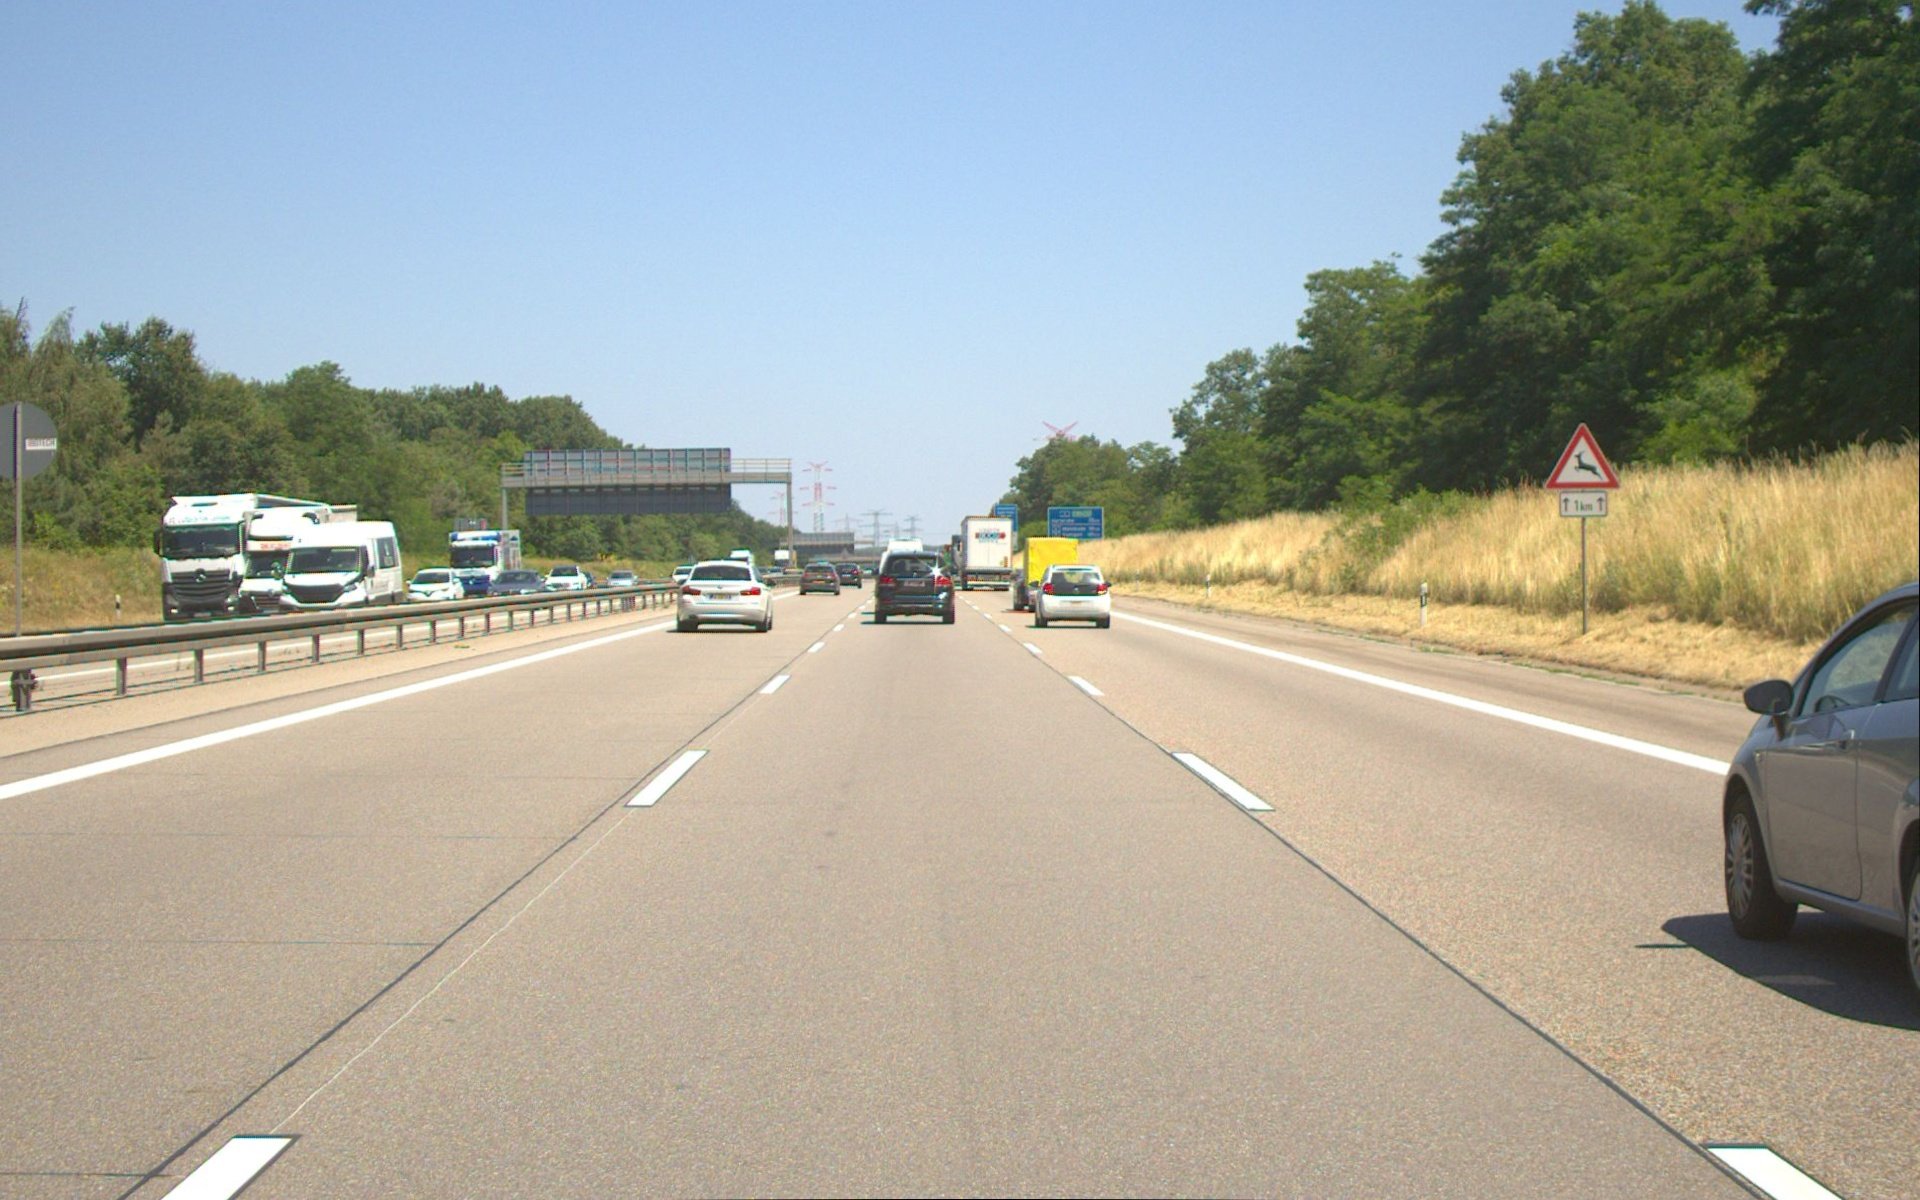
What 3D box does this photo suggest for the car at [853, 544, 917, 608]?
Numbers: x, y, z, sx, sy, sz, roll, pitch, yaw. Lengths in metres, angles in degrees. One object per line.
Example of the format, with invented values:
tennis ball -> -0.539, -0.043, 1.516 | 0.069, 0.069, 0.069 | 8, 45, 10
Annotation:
car -> -2.196, -0.691, 100.493 | 1.814, 1.821, 5.111 | 0, 0, -1

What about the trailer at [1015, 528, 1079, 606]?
trailer -> 2.605, -1.000, 104.007 | 1.703, 2.282, 3.840 | 1, 0, -2

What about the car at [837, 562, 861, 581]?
car -> -6.671, -1.711, 206.546 | 1.405, 1.128, 3.358 | 0, 1, -1

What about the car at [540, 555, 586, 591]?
car -> -19.768, -1.351, 171.320 | 1.727, 1.640, 5.089 | -3, 1, -2

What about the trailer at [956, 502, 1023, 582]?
trailer -> 1.601, -3.176, 193.116 | 3.286, 4.205, 13.566 | 1, 0, -1

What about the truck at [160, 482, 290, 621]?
truck -> -22.403, -1.481, 105.086 | 2.505, 4.000, 6.125 | -3, 1, -1

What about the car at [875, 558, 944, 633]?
car -> -1.213, -0.121, 83.237 | 1.626, 1.749, 3.805 | 0, 0, -1

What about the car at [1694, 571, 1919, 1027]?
car -> 3.966, 0.641, 12.422 | 1.745, 1.461, 3.980 | 1, 1, 0

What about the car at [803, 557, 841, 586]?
car -> -6.293, -1.293, 156.838 | 1.607, 1.296, 3.674 | 0, 1, -1

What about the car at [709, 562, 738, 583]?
car -> -17.178, -2.001, 249.870 | 1.761, 1.454, 5.121 | -3, 1, -2

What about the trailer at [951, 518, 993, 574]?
trailer -> 0.830, -3.819, 245.175 | 2.682, 3.824, 12.011 | 1, 0, -1

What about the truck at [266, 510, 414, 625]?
truck -> -15.195, -0.814, 84.728 | 2.083, 2.614, 8.031 | -3, 1, 0

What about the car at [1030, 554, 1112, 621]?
car -> 2.548, -0.296, 79.671 | 1.708, 1.490, 4.024 | 0, 1, -1

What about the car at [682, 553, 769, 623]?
car -> -4.856, -0.269, 71.481 | 1.669, 1.396, 3.713 | -1, 1, -2

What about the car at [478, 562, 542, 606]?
car -> -15.210, -0.563, 116.326 | 1.604, 1.394, 4.545 | -3, 1, -2

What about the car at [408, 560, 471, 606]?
car -> -18.863, -0.630, 124.745 | 1.604, 1.554, 4.469 | -3, 1, -1

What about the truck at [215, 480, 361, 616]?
truck -> -19.026, -1.469, 97.719 | 2.457, 3.594, 8.120 | -3, 1, -1

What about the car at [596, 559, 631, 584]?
car -> -21.342, -1.771, 211.638 | 1.761, 1.403, 4.353 | -3, 1, -2

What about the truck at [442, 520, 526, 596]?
truck -> -23.329, -2.052, 168.947 | 2.732, 3.506, 10.442 | -3, 1, -1

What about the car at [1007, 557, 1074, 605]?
car -> 2.510, -0.608, 108.339 | 1.821, 1.451, 4.789 | 1, 0, -2

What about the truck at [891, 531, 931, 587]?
truck -> -2.607, -2.153, 182.291 | 2.060, 2.904, 7.003 | 0, 0, -1
